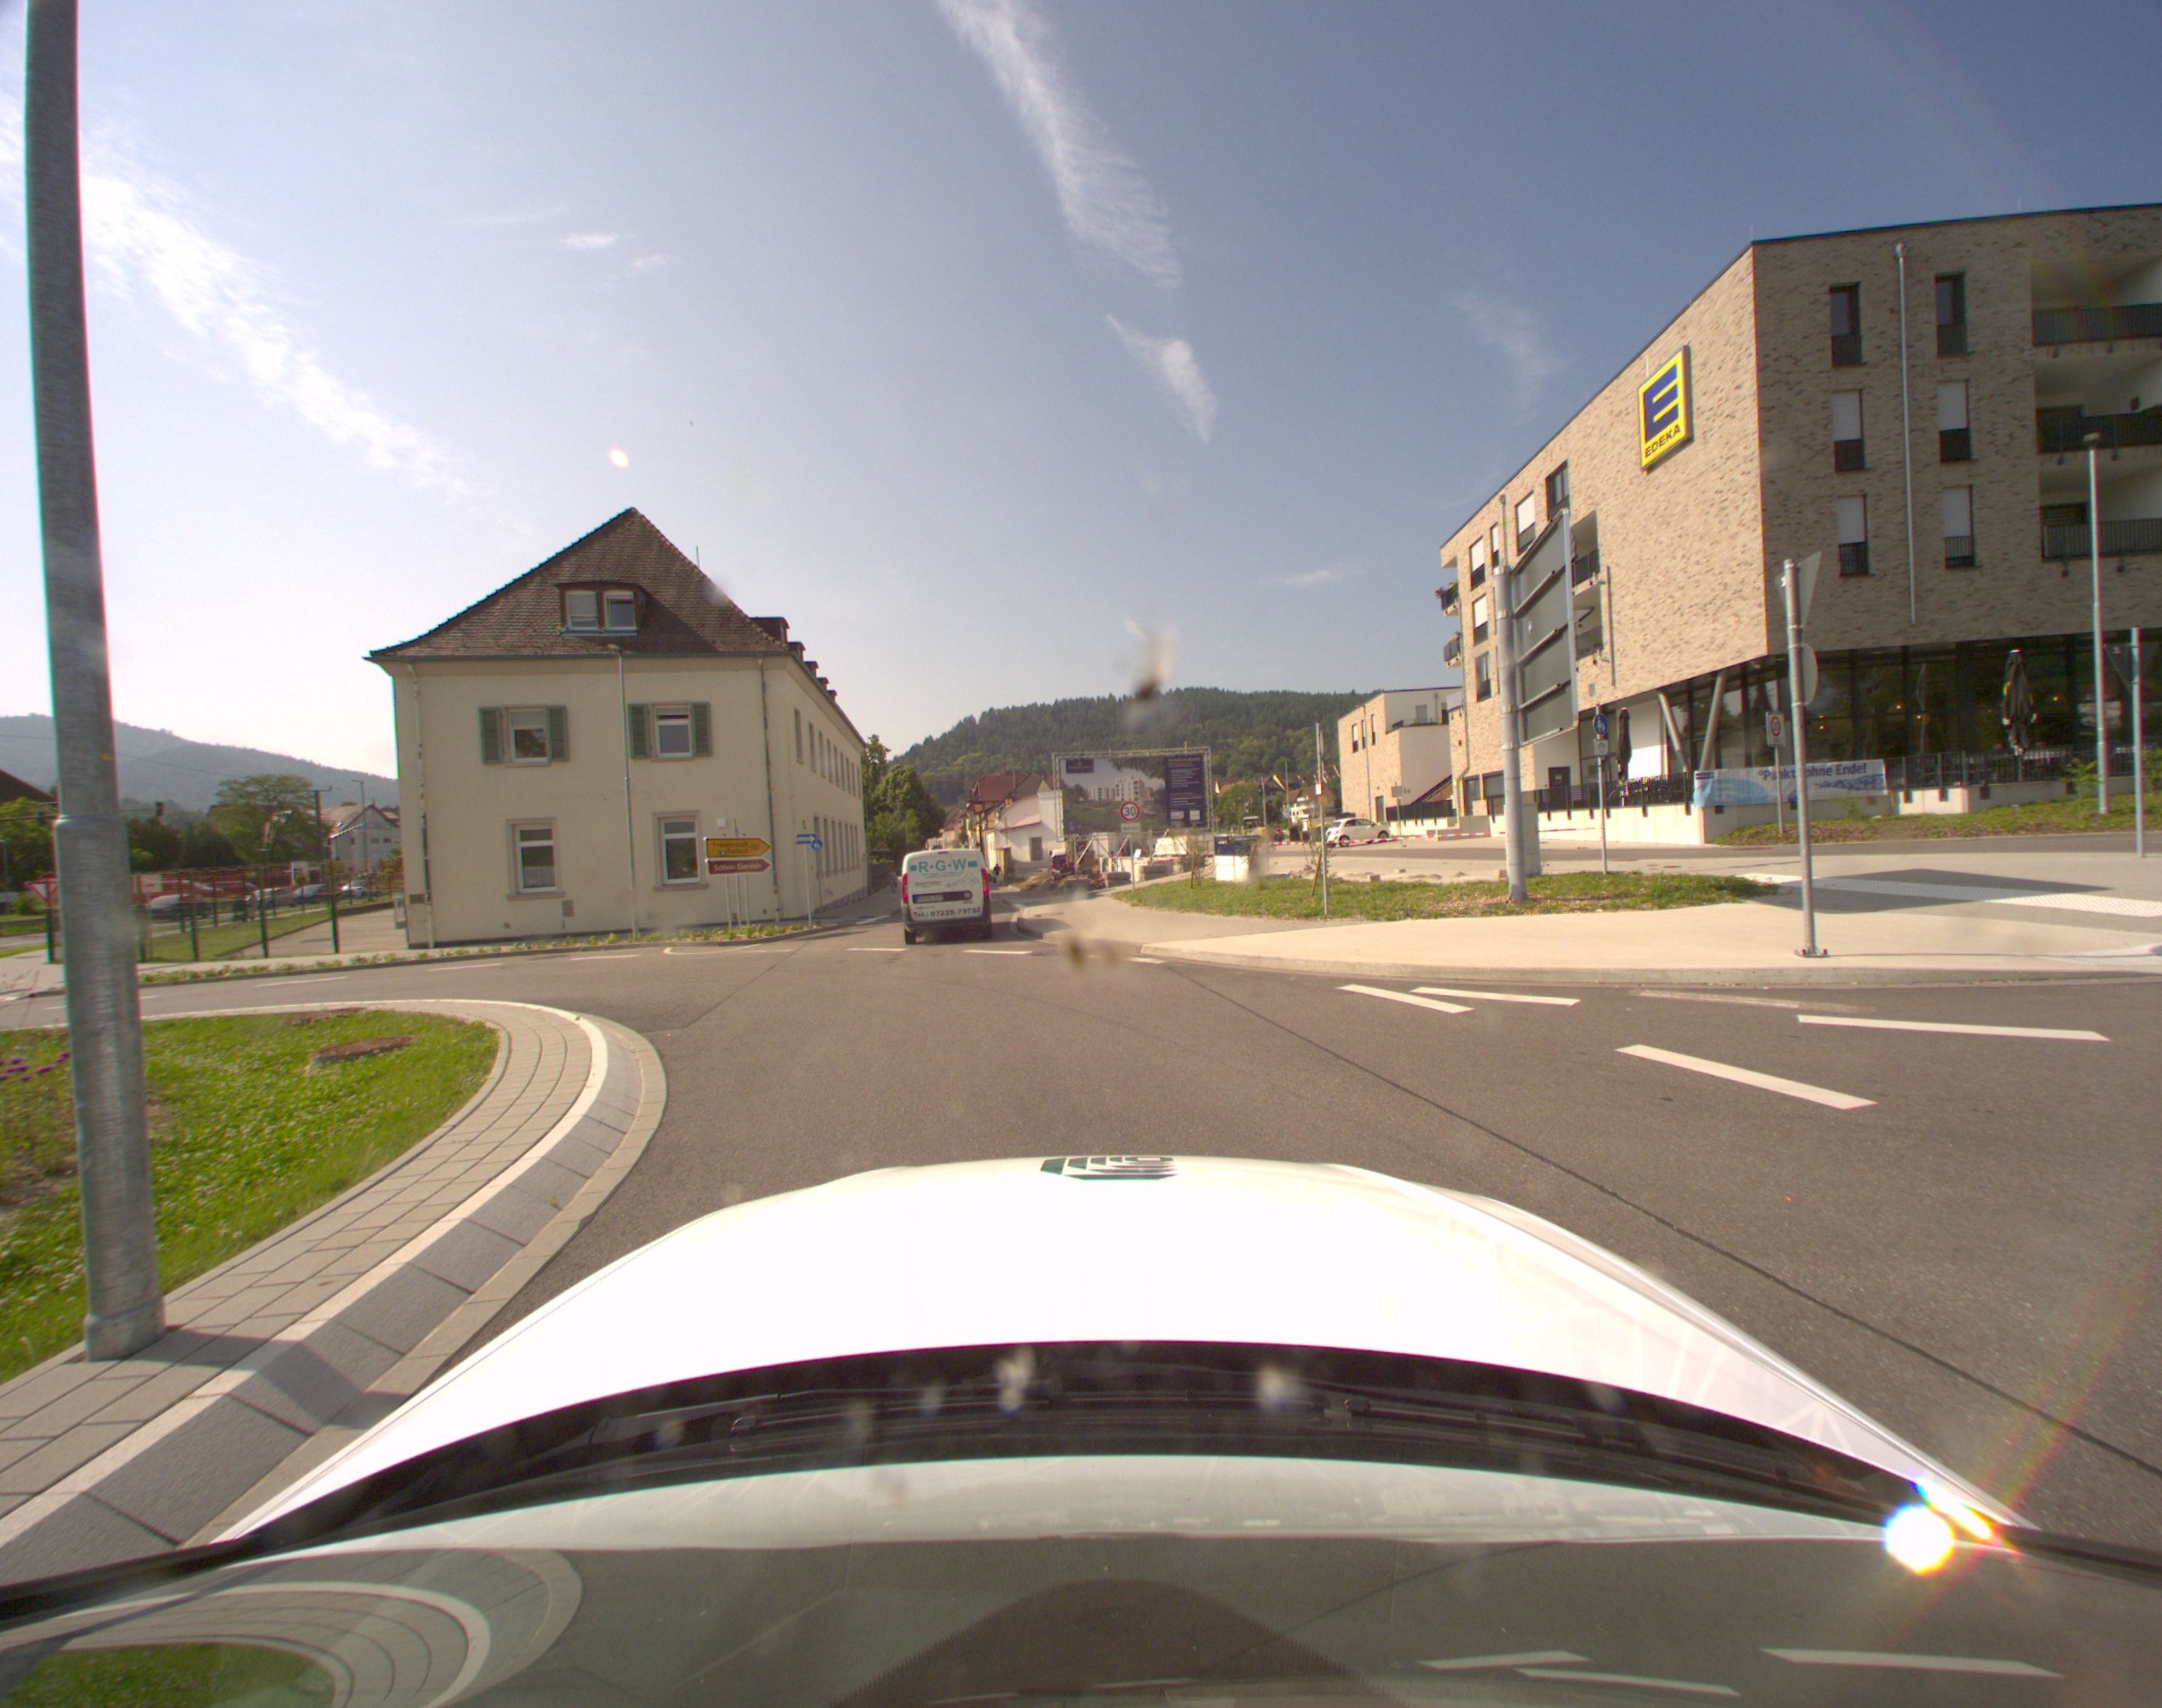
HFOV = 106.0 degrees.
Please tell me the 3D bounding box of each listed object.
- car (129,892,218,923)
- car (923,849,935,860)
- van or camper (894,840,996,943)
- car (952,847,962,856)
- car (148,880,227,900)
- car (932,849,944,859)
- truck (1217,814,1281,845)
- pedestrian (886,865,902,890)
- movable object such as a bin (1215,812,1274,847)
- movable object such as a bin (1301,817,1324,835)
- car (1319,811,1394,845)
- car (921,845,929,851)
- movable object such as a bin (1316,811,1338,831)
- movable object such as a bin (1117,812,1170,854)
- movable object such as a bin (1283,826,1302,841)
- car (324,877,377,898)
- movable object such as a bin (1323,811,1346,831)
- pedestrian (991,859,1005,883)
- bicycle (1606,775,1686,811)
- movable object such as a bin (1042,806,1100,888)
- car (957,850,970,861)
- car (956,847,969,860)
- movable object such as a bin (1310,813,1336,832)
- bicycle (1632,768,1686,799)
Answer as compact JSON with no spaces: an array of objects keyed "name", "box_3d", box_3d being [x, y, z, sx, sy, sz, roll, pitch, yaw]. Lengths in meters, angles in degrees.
[{"name":"car","box_3d":[-53.662,3.123,48.263,1.714,1.397,3.976,-1,1,-18]},{"name":"car","box_3d":[-42.567,0.102,228.261,2.877,2.835,6.099,-4,1,-12]},{"name":"van or camper","box_3d":[-2.998,0.774,17.787,1.829,1.844,4.172,-4,-1,-11]},{"name":"car","box_3d":[-22.906,-0.530,150.349,1.671,1.508,3.984,-4,1,-12]},{"name":"car","box_3d":[-73.789,2.980,67.341,4.005,1.397,1.701,-2,1,-24]},{"name":"car","box_3d":[-24.195,0.012,137.764,1.813,1.596,3.909,-1,1,-13]},{"name":"truck","box_3d":[14.854,-2.174,71.948,5.274,2.265,2.228,-5,0,15]},{"name":"pedestrian","box_3d":[-12.716,1.569,55.282,0.958,1.631,0.755,-3,0,-11]},{"name":"movable object such as a bin","box_3d":[13.795,-2.065,68.760,4.577,2.569,1.933,-5,0,15]},{"name":"movable object such as a bin","box_3d":[19.056,-2.290,67.113,1.575,1.464,1.320,-1,1,0]},{"name":"car","box_3d":[14.850,-1.385,43.933,3.406,1.495,1.588,-5,-1,-11]},{"name":"car","box_3d":[-41.468,-1.534,216.168,1.813,1.596,3.907,-1,1,-15]},{"name":"movable object such as a bin","box_3d":[19.262,-2.577,63.794,1.295,1.464,1.320,-1,1,0]},{"name":"movable object such as a bin","box_3d":[5.643,-1.867,72.598,2.824,3.621,5.769,0,1,25]},{"name":"movable object such as a bin","box_3d":[17.948,-1.754,69.067,1.292,1.268,1.320,-1,1,0]},{"name":"car","box_3d":[-60.501,2.748,67.528,1.714,1.397,3.976,-1,1,-18]},{"name":"movable object such as a bin","box_3d":[19.392,-2.540,62.295,1.295,1.464,1.320,-1,1,0]},{"name":"pedestrian","box_3d":[-5.920,1.232,58.118,0.888,1.683,0.716,-2,-1,-10]},{"name":"bicycle","box_3d":[18.944,-2.054,27.303,2.236,1.144,0.855,-1,1,-8]},{"name":"movable object such as a bin","box_3d":[-0.677,-0.353,42.924,2.292,3.854,7.782,-1,0,-6]},{"name":"car","box_3d":[-17.937,0.220,124.562,1.811,1.596,3.914,-1,1,-10]},{"name":"car","box_3d":[-19.639,-0.043,134.445,1.872,2.013,3.986,-3,1,-11]},{"name":"movable object such as a bin","box_3d":[19.393,-2.498,65.294,1.687,1.464,1.320,-1,1,0]},{"name":"bicycle","box_3d":[22.797,-2.765,32.176,0.688,1.045,2.248,-1,1,4]}]
